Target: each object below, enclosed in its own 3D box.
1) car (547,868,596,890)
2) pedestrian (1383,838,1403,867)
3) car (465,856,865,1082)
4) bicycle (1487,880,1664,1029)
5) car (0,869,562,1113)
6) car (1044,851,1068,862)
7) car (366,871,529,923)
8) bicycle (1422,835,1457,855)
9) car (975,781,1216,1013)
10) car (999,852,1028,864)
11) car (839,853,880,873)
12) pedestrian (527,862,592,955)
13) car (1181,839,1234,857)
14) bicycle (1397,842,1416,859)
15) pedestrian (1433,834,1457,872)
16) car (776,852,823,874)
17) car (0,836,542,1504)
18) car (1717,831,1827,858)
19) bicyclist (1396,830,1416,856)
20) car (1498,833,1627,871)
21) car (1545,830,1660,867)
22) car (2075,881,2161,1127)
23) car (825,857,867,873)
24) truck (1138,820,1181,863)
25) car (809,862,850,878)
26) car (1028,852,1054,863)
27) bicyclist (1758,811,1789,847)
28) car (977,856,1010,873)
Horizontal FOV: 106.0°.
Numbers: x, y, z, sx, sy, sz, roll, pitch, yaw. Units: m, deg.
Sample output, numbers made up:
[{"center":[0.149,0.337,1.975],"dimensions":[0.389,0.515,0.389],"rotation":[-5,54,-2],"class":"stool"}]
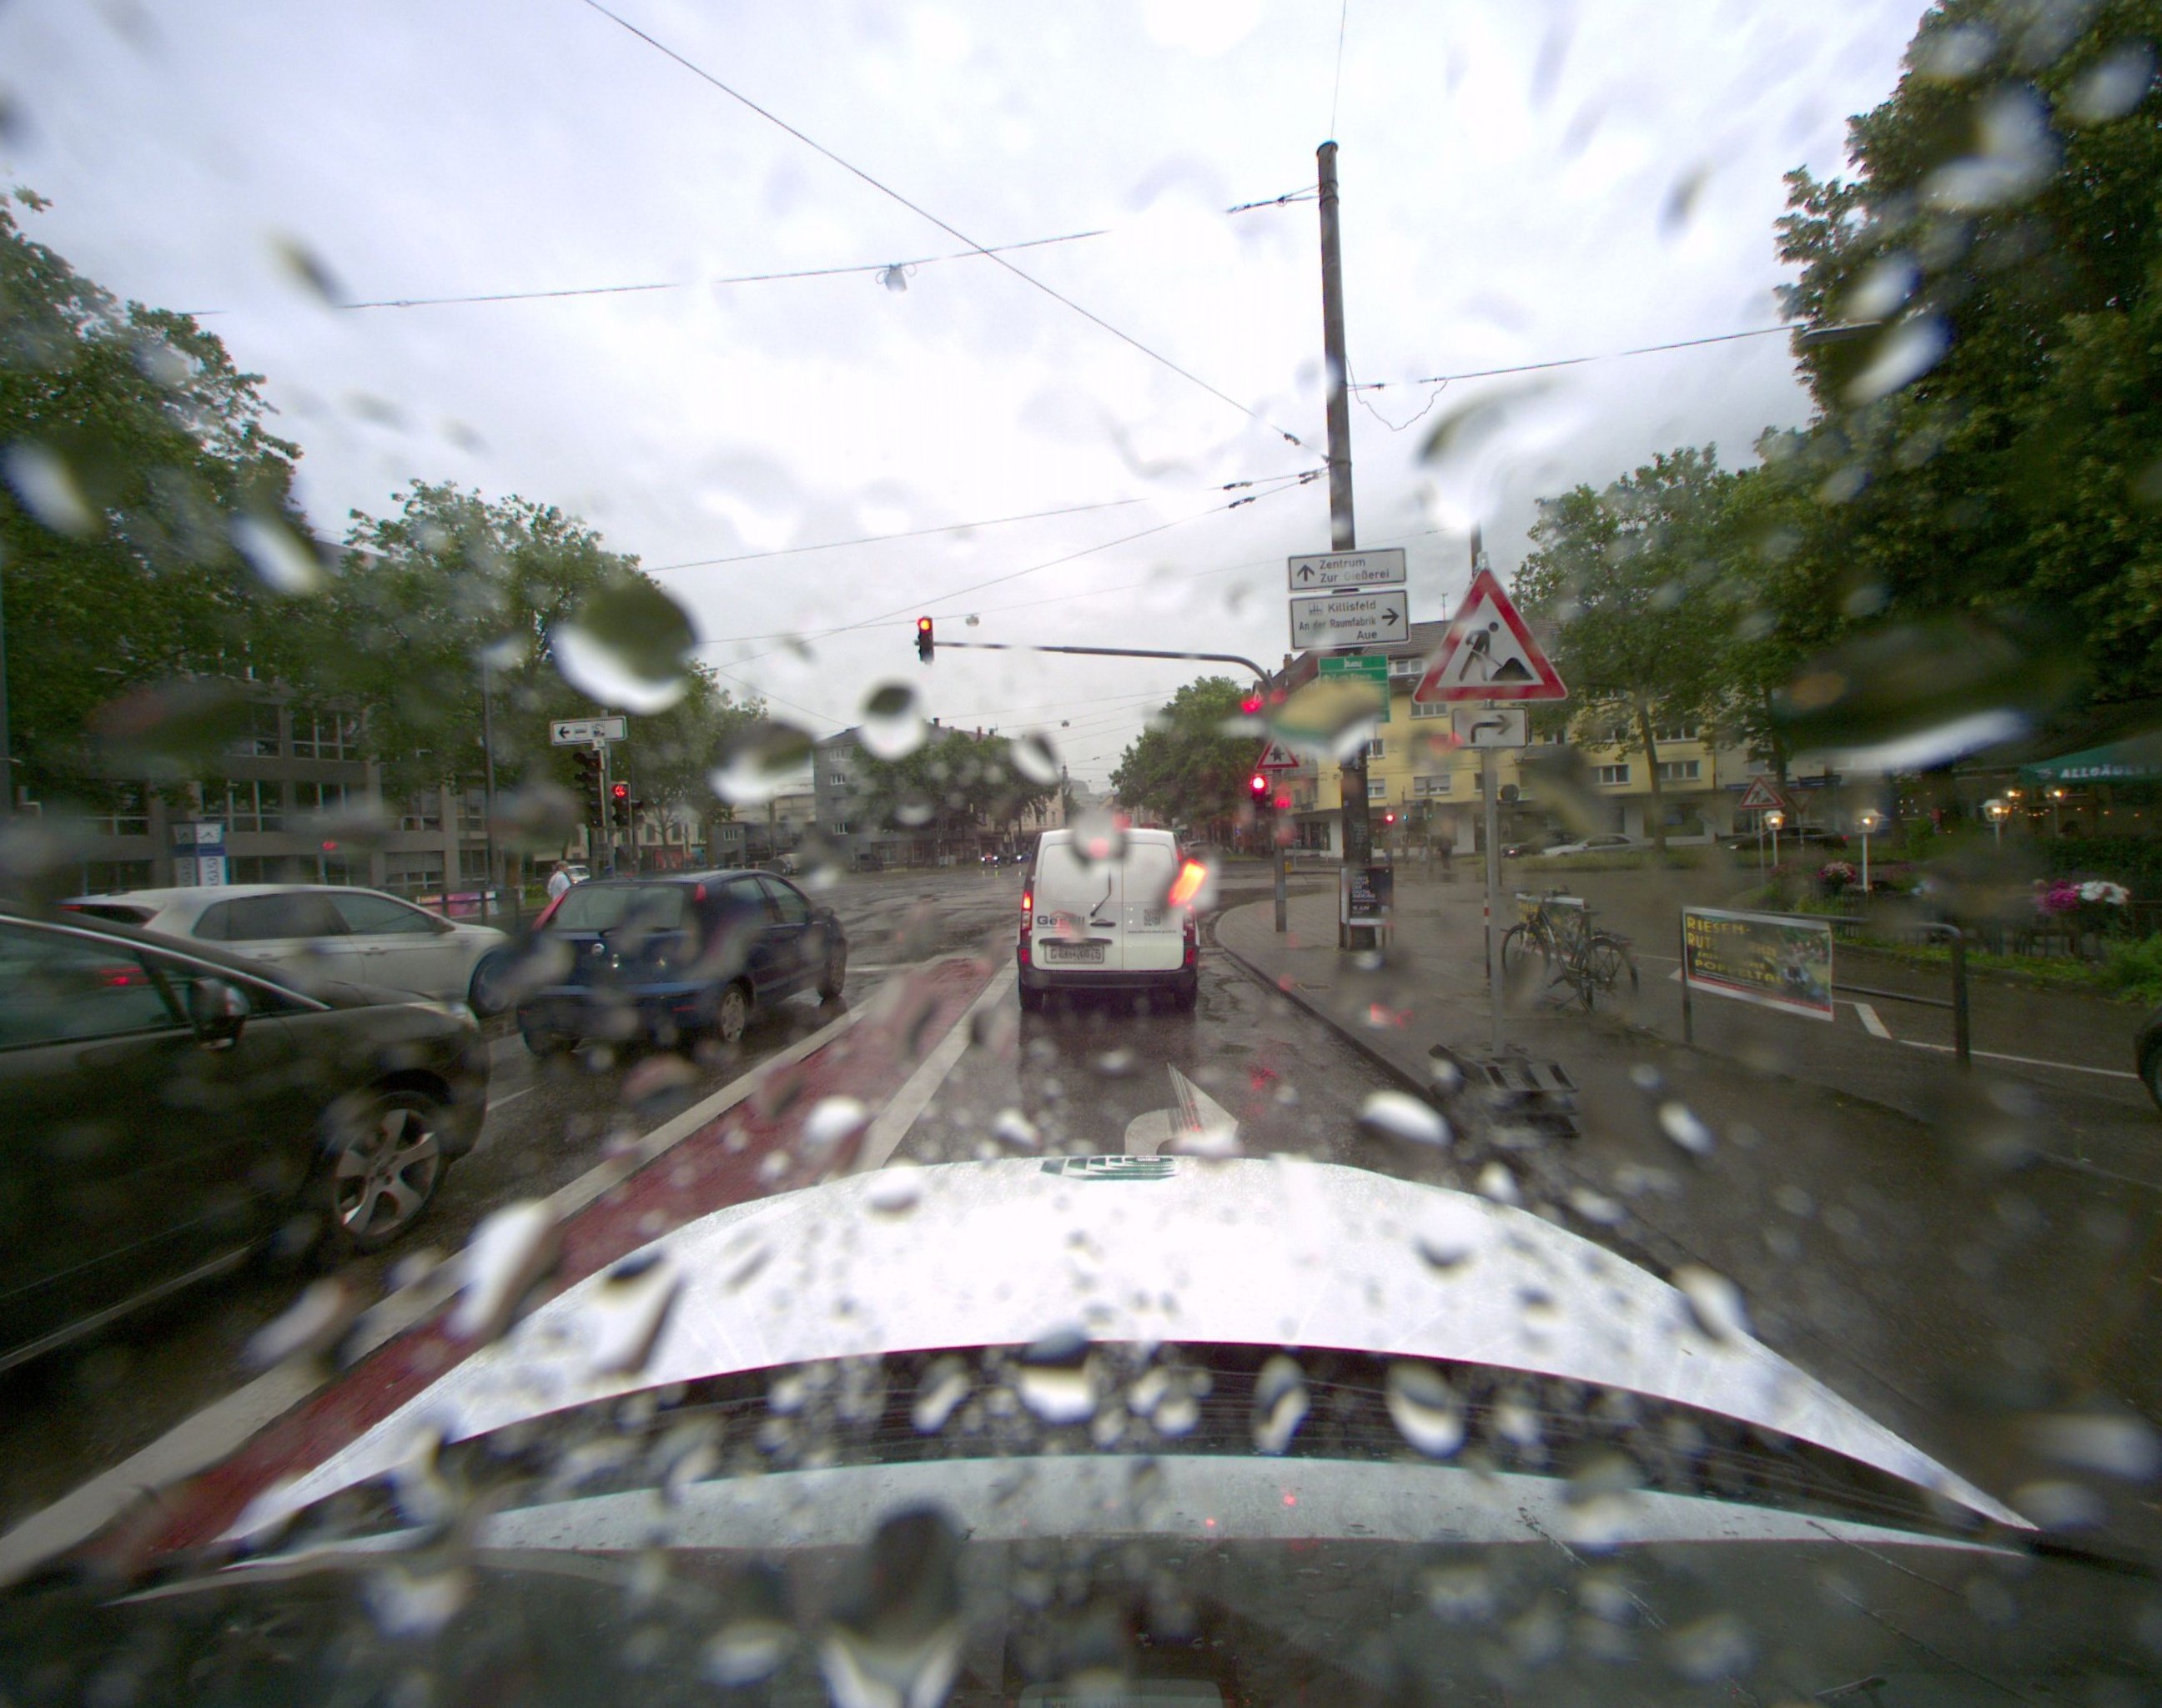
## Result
[{"center":[-40.241,1.998,64.314],"dimensions":[3.734,1.494,1.572],"rotation":[-3,0,27],"class":"car"},{"center":[16.321,-0.073,42.544],"dimensions":[0.820,1.534,0.616],"rotation":[-1,0,-37],"class":"pedestrian"},{"center":[-3.490,0.828,7.745],"dimensions":[1.720,1.578,3.822],"rotation":[-1,0,2],"class":"car"},{"center":[4.509,0.847,7.610],"dimensions":[0.512,1.107,2.019],"rotation":[1,0,3],"class":"bicycle"},{"center":[-6.676,0.938,7.212],"dimensions":[1.623,1.494,3.783],"rotation":[-1,0,2],"class":"car"},{"center":[-3.362,0.325,109.108],"dimensions":[1.935,1.239,4.020],"rotation":[-1,1,19],"class":"car"},{"center":[-18.567,1.229,24.061],"dimensions":[1.582,1.314,3.538],"rotation":[-1,0,16],"class":"car"},{"center":[24.370,-0.619,55.407],"dimensions":[2.085,1.261,0.534],"rotation":[-1,1,16],"class":"bicycle"},{"center":[0.205,0.396,9.751],"dimensions":[2.092,2.012,4.965],"rotation":[-2,0,2],"class":"car"},{"center":[-7.981,0.493,96.062],"dimensions":[1.935,1.239,4.020],"rotation":[-1,1,19],"class":"car"},{"center":[-23.360,0.978,86.035],"dimensions":[1.974,2.013,4.025],"rotation":[-1,0,29],"class":"car"},{"center":[-9.397,0.962,14.689],"dimensions":[0.621,1.607,0.744],"rotation":[-1,0,9],"class":"pedestrian"},{"center":[10.780,-0.538,69.425],"dimensions":[4.160,1.338,1.518],"rotation":[-2,1,-6],"class":"car"},{"center":[20.007,-0.223,50.053],"dimensions":[0.651,1.027,2.037],"rotation":[-1,0,35],"class":"bicycle"},{"center":[16.240,-0.061,36.336],"dimensions":[0.896,1.669,1.026],"rotation":[-1,0,28],"class":"pedestrian"},{"center":[-30.711,0.959,89.008],"dimensions":[1.975,2.198,4.816],"rotation":[0,2,25],"class":"car"},{"center":[-3.633,0.808,1.914],"dimensions":[1.827,1.668,4.174],"rotation":[-1,0,2],"class":"car"},{"center":[29.318,-0.398,34.610],"dimensions":[3.511,1.082,1.248],"rotation":[-1,0,4],"class":"car"},{"center":[19.981,-0.665,50.068],"dimensions":[0.924,1.547,1.076],"rotation":[-1,0,36],"class":"bicyclist"},{"center":[22.893,-0.051,38.924],"dimensions":[4.902,1.643,2.007],"rotation":[-1,-3,14],"class":"car"},{"center":[22.797,-0.264,35.778],"dimensions":[3.906,1.490,1.815],"rotation":[-1,1,17],"class":"car"},{"center":[7.199,0.957,3.469],"dimensions":[1.698,1.442,3.529],"rotation":[2,1,4],"class":"car"},{"center":[-25.345,1.152,87.896],"dimensions":[1.975,1.530,4.025],"rotation":[-1,2,29],"class":"car"},{"center":[10.427,-1.547,106.022],"dimensions":[3.446,5.087,15.361],"rotation":[-1,0,13],"class":"truck"},{"center":[-27.455,1.695,89.079],"dimensions":[1.935,1.496,4.025],"rotation":[0,2,29],"class":"car"},{"center":[-5.148,0.387,104.422],"dimensions":[1.935,1.239,4.020],"rotation":[-1,1,19],"class":"car"},{"center":[31.666,-1.142,37.235],"dimensions":[0.810,1.615,0.712],"rotation":[-1,0,2],"class":"bicyclist"},{"center":[-9.509,1.093,88.640],"dimensions":[1.935,1.607,4.020],"rotation":[-1,1,19],"class":"car"}]
